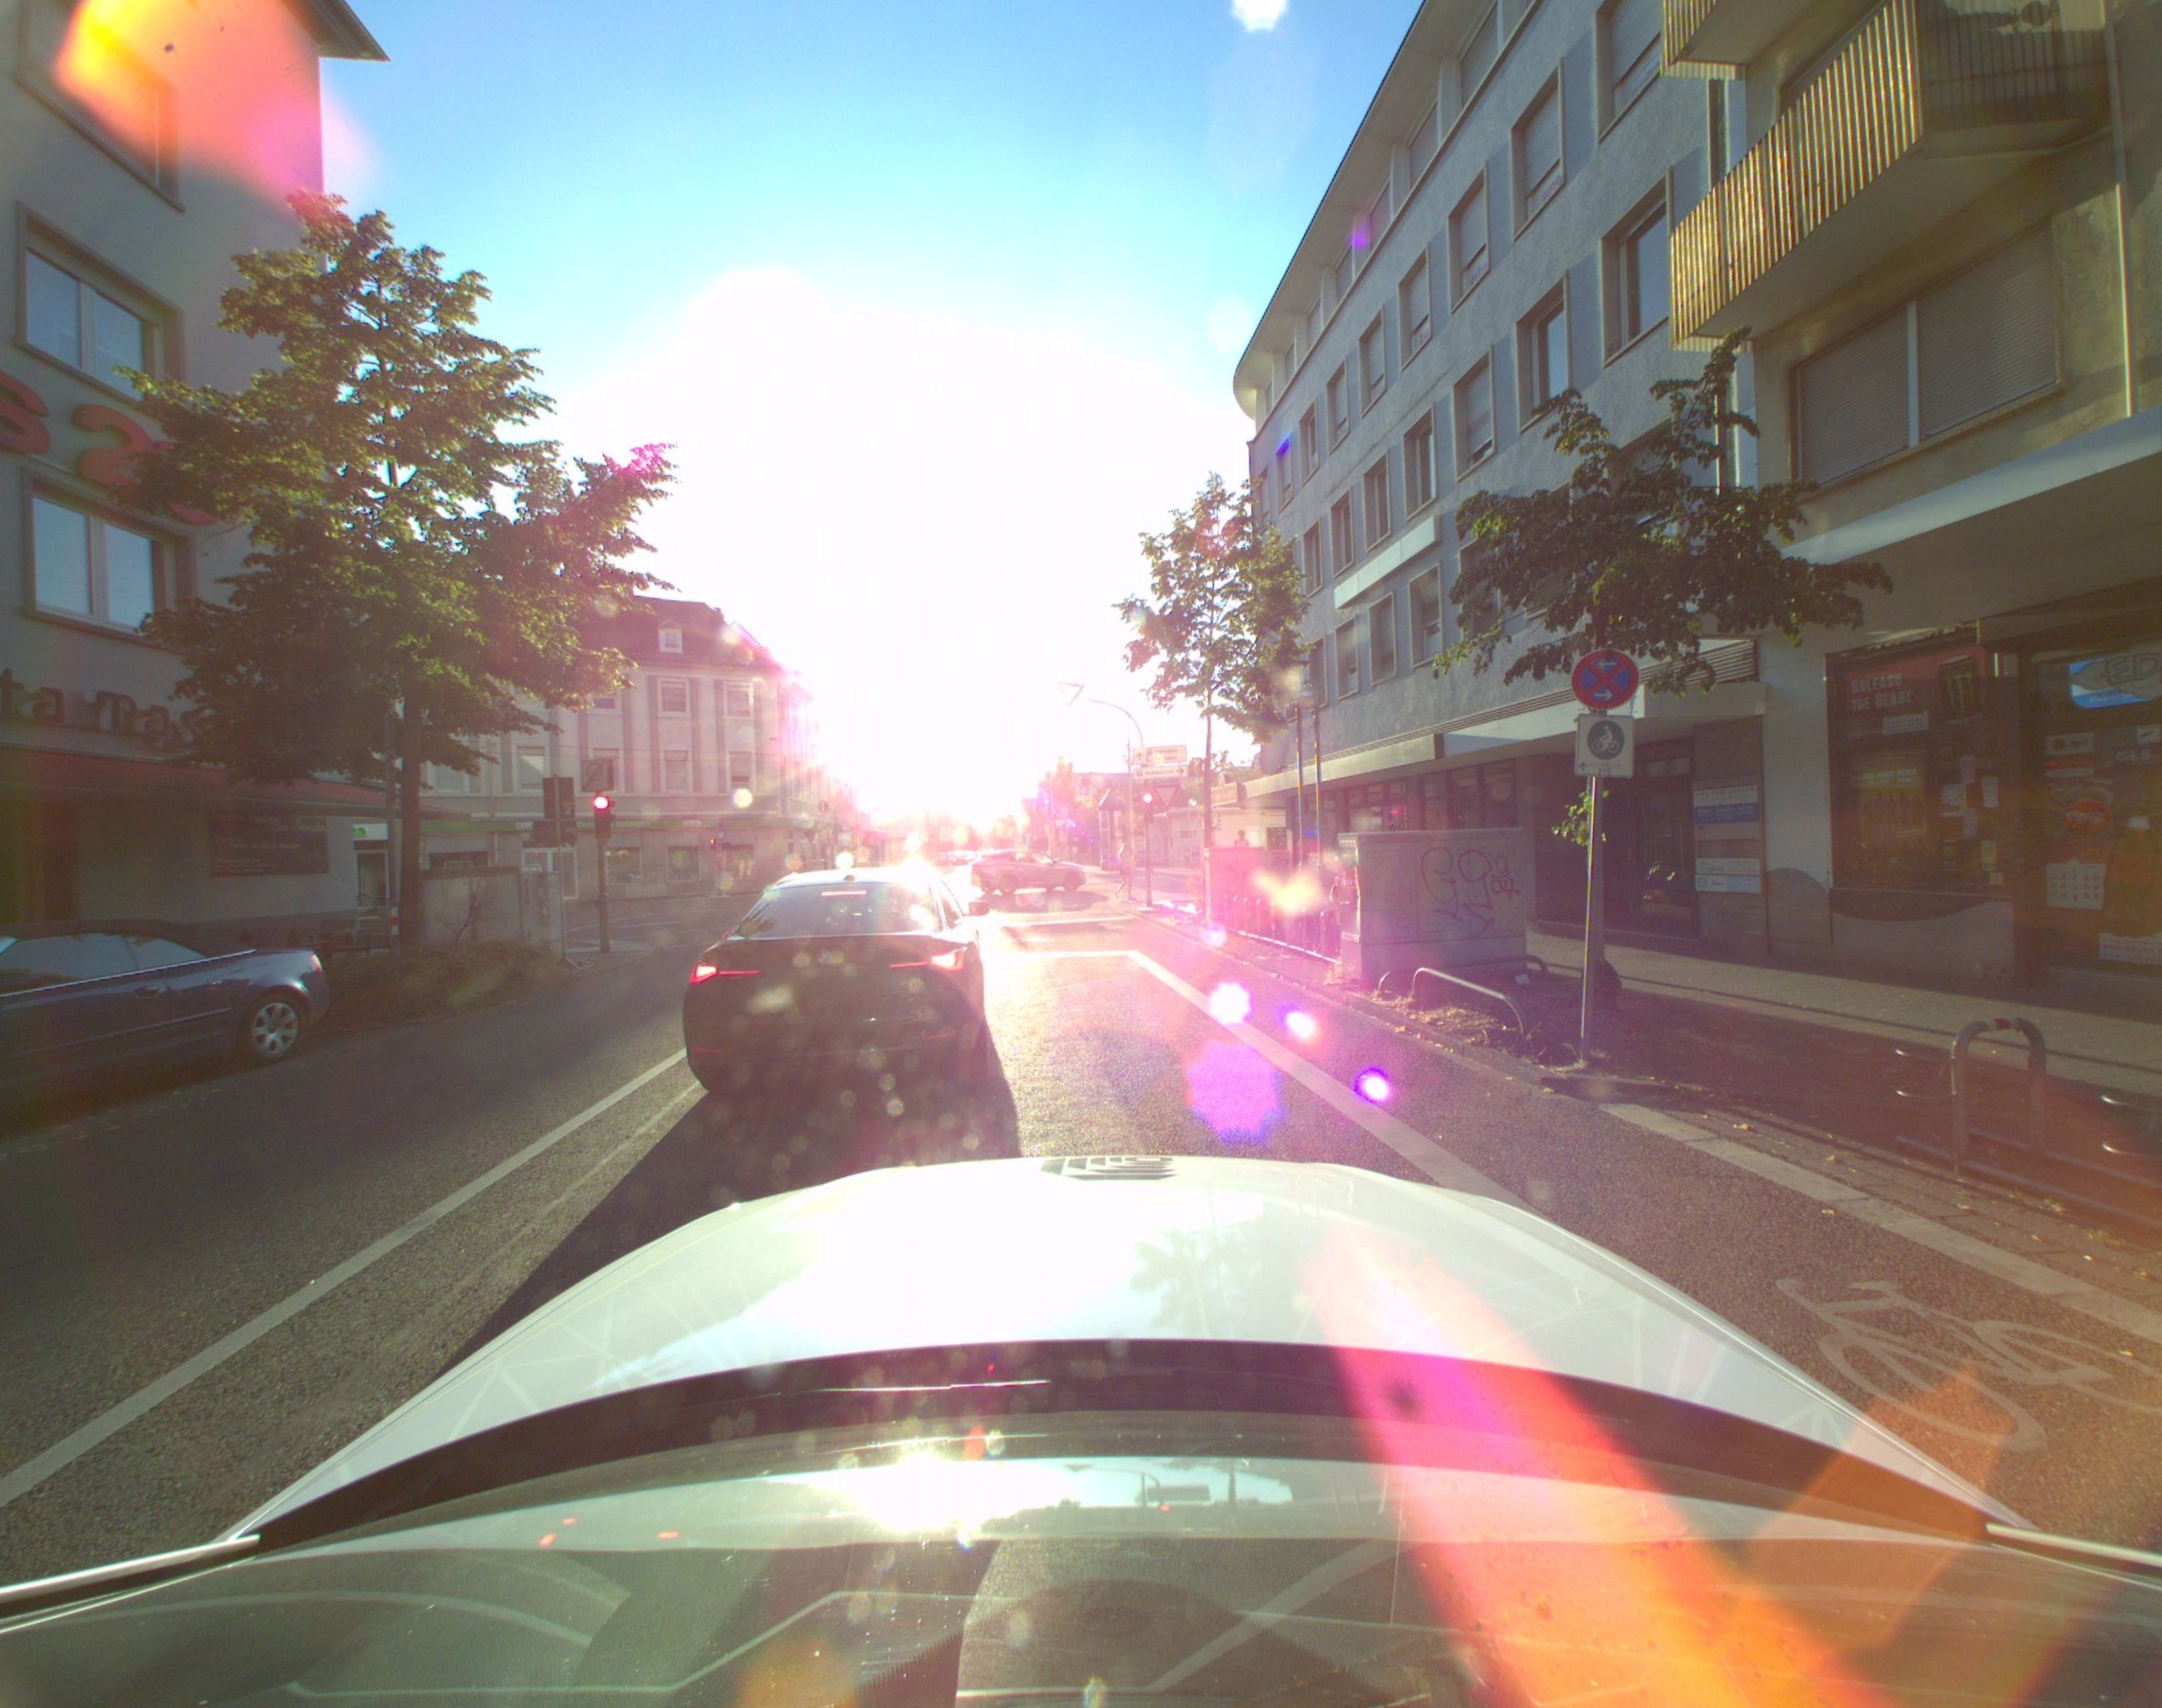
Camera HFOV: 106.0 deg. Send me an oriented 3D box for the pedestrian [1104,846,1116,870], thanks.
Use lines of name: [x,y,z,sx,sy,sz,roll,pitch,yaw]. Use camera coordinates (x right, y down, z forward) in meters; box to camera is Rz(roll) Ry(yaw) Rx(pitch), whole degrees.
pedestrian: [1.891,0.263,52.945,0.732,1.529,0.471,0,0,-7]

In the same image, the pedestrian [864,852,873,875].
pedestrian: [-17.023,0.765,65.324,0.616,1.876,0.676,0,0,-10]

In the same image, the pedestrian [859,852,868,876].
pedestrian: [-17.201,0.767,64.406,0.642,1.876,0.630,0,0,-7]

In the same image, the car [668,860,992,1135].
car: [-1.643,0.801,6.655,1.735,1.428,4.213,-1,0,-7]

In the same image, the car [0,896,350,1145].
car: [-7.637,1.154,5.548,1.721,1.415,4.270,-4,0,-7]

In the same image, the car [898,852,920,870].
car: [-18.548,0.711,88.002,1.816,1.788,3.992,-2,0,-6]

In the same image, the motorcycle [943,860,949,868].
motorcycle: [-15.617,1.135,94.328,0.574,0.915,2.196,0,0,-6]

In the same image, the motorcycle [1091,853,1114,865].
motorcycle: [1.786,0.439,67.991,1.673,0.939,0.851,-2,0,-18]

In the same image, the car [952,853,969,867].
car: [-14.063,0.642,95.168,1.816,1.519,3.992,-2,0,-6]

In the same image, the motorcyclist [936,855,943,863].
motorcyclist: [-16.442,0.610,94.726,0.574,0.915,2.196,0,0,-6]

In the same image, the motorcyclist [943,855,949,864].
motorcyclist: [-15.609,0.603,94.230,0.574,0.995,0.701,0,0,-6]

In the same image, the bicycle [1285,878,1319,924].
bicycle: [4.163,0.874,15.377,0.249,0.796,1.114,0,0,-4]

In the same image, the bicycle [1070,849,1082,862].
bicycle: [-0.492,0.178,76.084,0.551,1.159,2.133,-1,-1,-14]

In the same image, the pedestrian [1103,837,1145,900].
pedestrian: [1.357,0.446,25.492,1.006,1.860,0.634,-5,1,-27]

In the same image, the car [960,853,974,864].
car: [-17.302,0.637,123.883,1.816,1.519,3.992,-2,0,-6]

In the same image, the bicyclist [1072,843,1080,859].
bicyclist: [-0.490,-0.269,76.038,0.551,1.481,0.719,-1,-1,-15]

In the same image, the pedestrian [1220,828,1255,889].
pedestrian: [4.882,0.144,25.443,0.834,1.841,0.677,-2,0,-6]

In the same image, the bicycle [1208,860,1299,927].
bicycle: [3.215,0.724,15.204,1.610,1.171,0.318,-2,0,-5]

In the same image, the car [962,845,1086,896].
car: [-2.108,0.568,30.740,4.307,1.707,1.787,-2,1,-32]

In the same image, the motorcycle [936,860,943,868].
motorcycle: [-16.434,1.141,94.738,0.574,0.915,2.196,0,0,-6]

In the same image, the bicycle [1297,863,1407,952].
bicycle: [3.814,0.739,11.500,1.438,1.220,0.383,0,0,-5]
